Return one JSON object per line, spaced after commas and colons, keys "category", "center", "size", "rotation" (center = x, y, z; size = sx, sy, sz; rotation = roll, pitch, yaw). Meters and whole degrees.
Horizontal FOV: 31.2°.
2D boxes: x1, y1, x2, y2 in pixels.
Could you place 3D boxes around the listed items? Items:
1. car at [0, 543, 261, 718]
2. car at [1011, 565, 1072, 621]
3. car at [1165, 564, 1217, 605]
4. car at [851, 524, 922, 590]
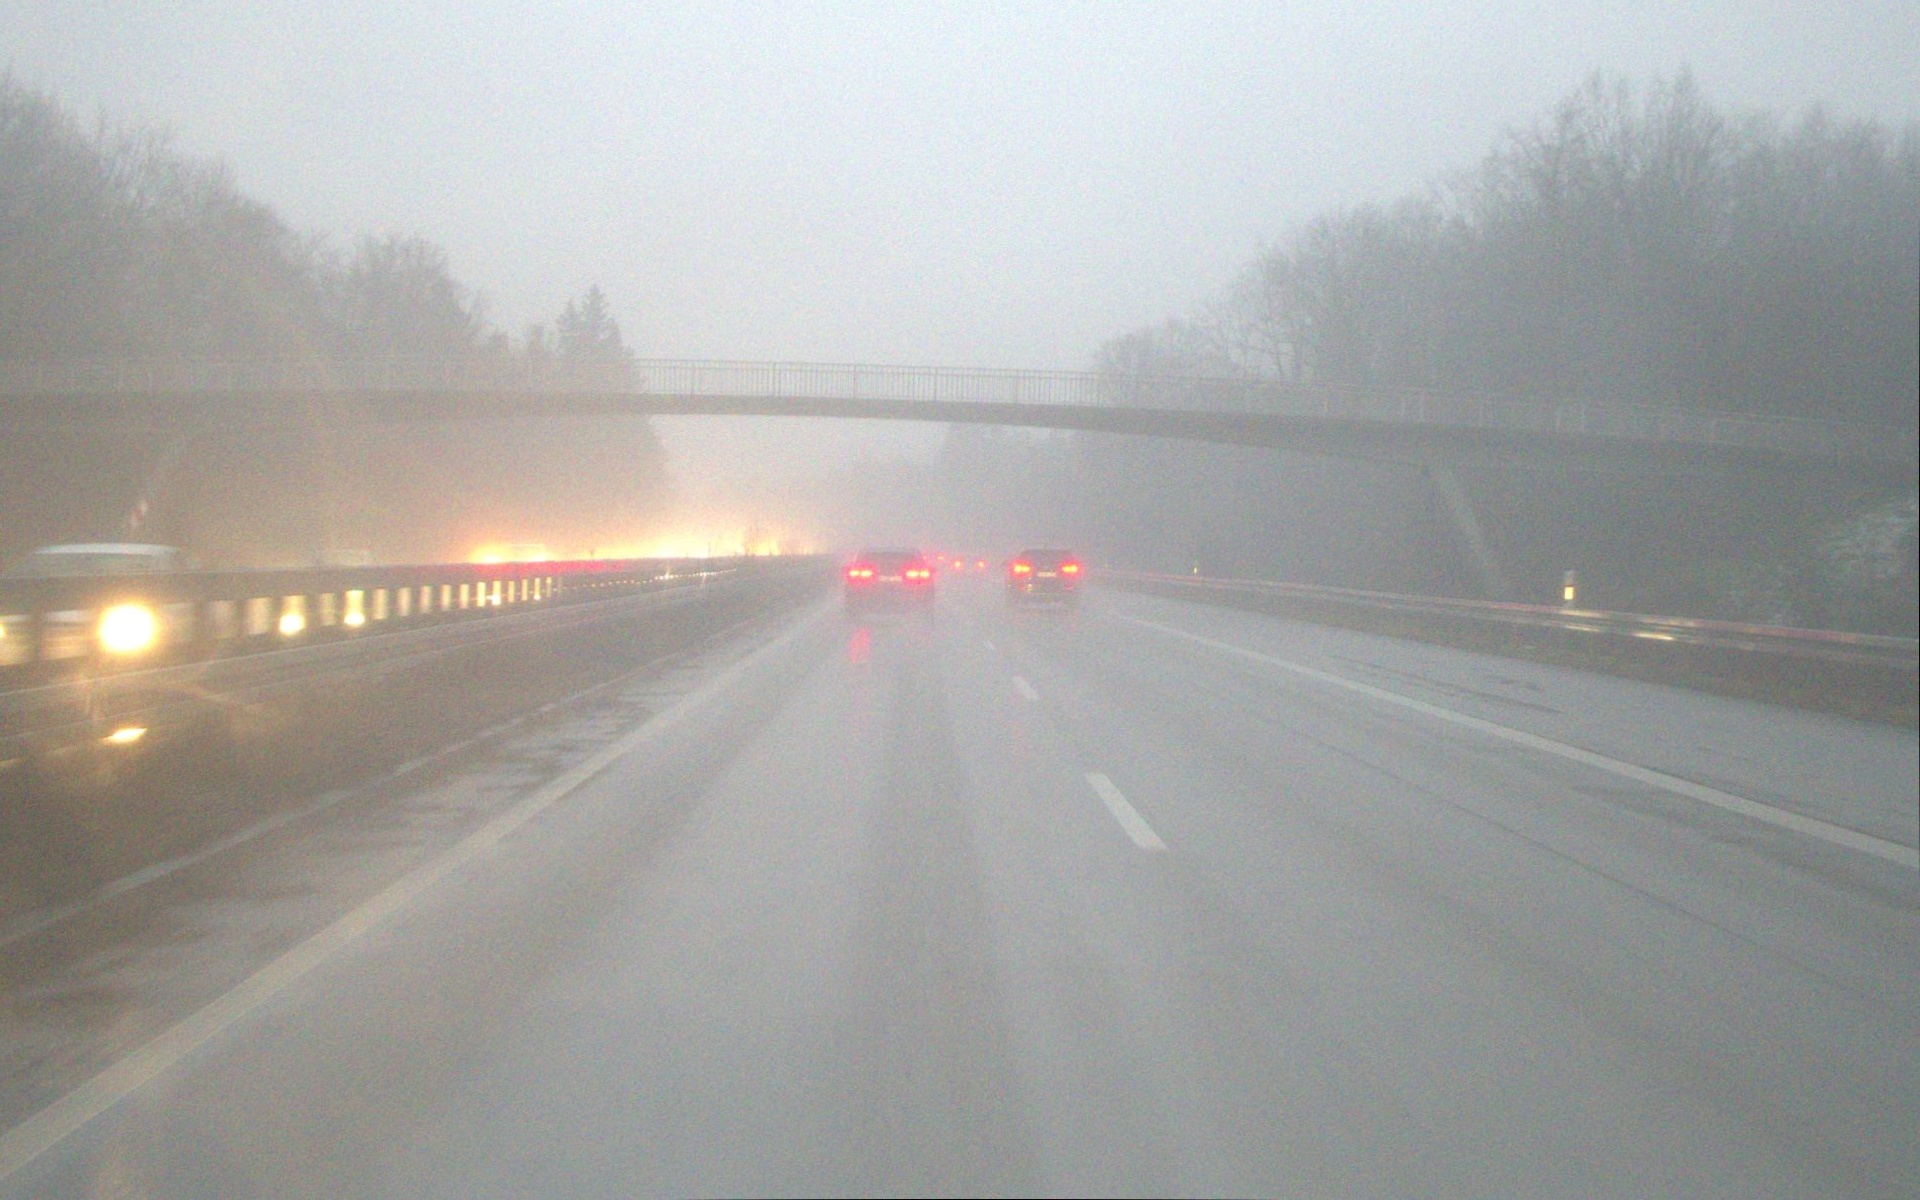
{"category": "car", "center": [-8.099, 0.248, 33.397], "size": [1.685, 1.528, 4.577], "rotation": [2, 1, -1]}
{"category": "car", "center": [2.124, -0.197, 90.288], "size": [1.454, 1.424, 3.490], "rotation": [1, 1, -1]}
{"category": "car", "center": [7.720, -0.524, 115.161], "size": [1.454, 1.339, 3.490], "rotation": [1, 1, -1]}
{"category": "car", "center": [-1.555, -0.914, 73.241], "size": [1.454, 1.339, 3.490], "rotation": [1, 1, -1]}
